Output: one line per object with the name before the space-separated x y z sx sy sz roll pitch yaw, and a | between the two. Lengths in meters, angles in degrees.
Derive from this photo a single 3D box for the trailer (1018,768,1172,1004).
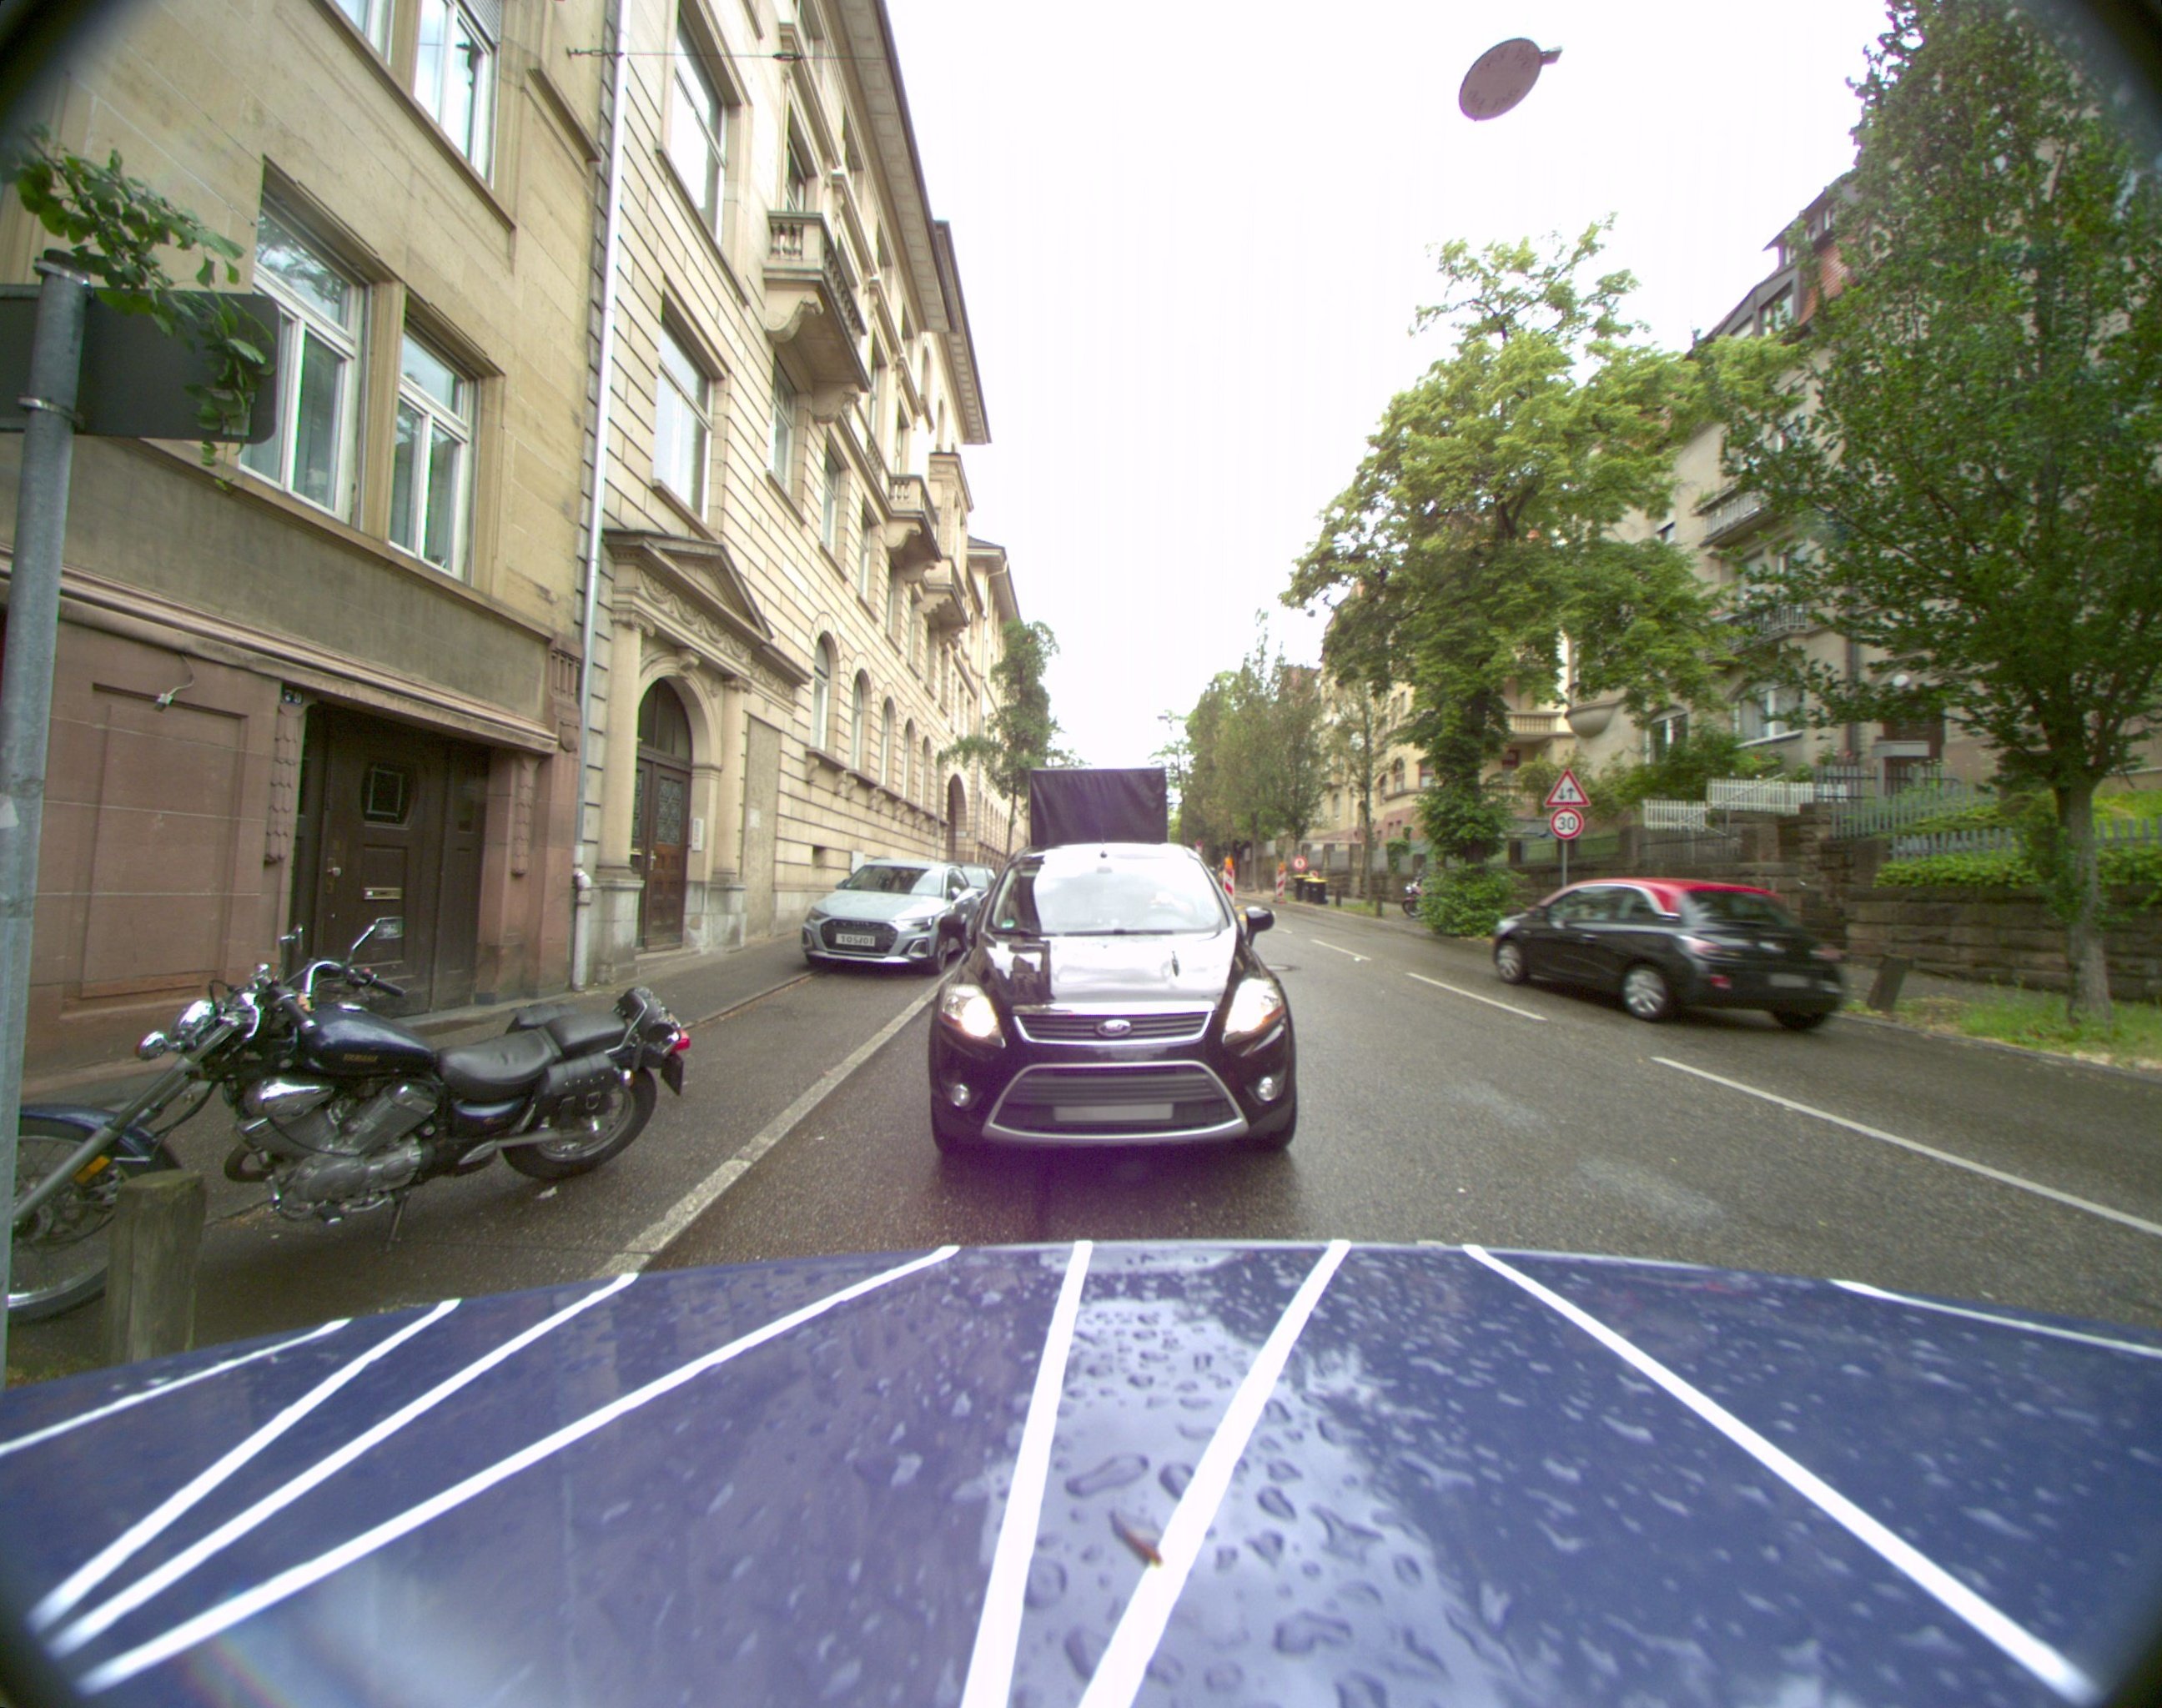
trailer | 0.170 0.359 11.285 1.783 2.744 4.816 0 1 0

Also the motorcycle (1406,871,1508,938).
motorcycle | 8.893 1.132 18.195 0.802 1.406 3.061 -2 0 -2

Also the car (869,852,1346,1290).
car | 0.206 0.831 5.176 1.823 1.662 4.523 0 0 3

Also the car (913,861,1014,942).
car | -2.393 0.926 16.139 1.495 1.440 3.181 3 0 1

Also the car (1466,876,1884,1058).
car | 6.260 1.074 8.631 1.671 1.463 3.655 3 0 -4

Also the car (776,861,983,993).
car | -2.672 0.893 11.100 1.794 1.444 4.039 3 0 1

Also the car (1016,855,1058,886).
car | -2.398 0.884 42.457 1.910 1.502 4.318 3 0 1

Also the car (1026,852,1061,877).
car | -2.447 0.658 50.576 1.910 1.502 4.318 3 0 1

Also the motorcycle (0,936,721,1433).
motorcycle | -2.624 0.977 2.786 0.523 1.236 2.282 3 -1 39
